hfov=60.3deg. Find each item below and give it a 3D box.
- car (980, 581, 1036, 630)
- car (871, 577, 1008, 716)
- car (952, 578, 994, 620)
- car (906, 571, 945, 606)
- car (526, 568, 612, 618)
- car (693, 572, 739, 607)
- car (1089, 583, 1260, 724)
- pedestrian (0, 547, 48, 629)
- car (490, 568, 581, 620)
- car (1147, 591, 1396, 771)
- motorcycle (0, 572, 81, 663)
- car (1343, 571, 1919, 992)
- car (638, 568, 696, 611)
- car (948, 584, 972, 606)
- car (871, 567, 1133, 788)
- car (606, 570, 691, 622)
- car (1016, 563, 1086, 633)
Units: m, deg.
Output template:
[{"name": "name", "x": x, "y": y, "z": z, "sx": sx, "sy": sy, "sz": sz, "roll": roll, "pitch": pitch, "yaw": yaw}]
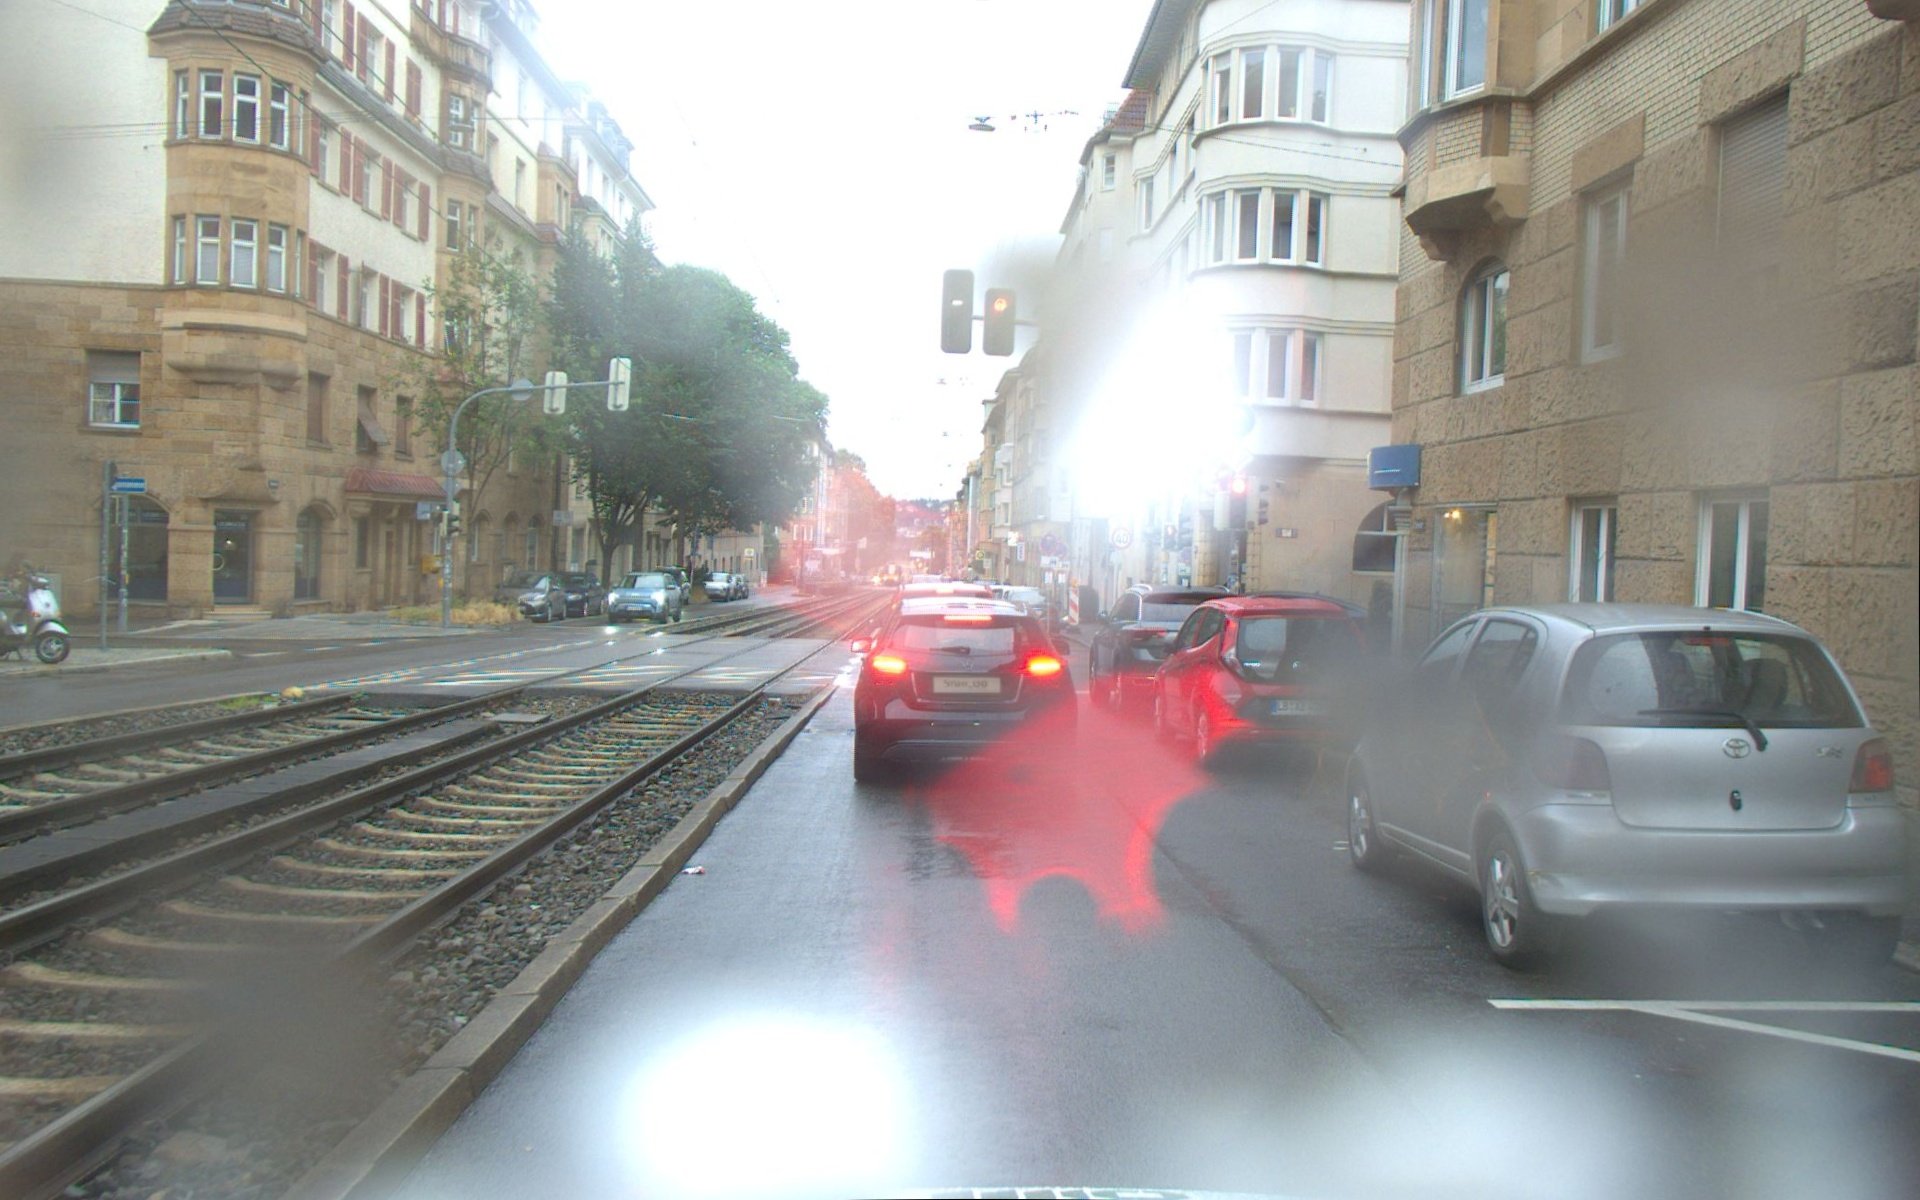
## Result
[{"name": "car", "x": 1.827, "y": 0.220, "z": 64.309, "sx": 1.734, "sy": 1.807, "sz": 3.996, "roll": 1, "pitch": -1, "yaw": -5}, {"name": "car", "x": -0.260, "y": 0.523, "z": 20.970, "sx": 1.504, "sy": 1.536, "sz": 3.999, "roll": 2, "pitch": 0, "yaw": -1}, {"name": "car", "x": 0.558, "y": -0.034, "z": 75.875, "sx": 1.815, "sy": 1.829, "sz": 3.811, "roll": 1, "pitch": -1, "yaw": -1}, {"name": "car", "x": -1.768, "y": -0.601, "z": 85.991, "sx": 1.882, "sy": 1.684, "sz": 4.000, "roll": 2, "pitch": 0, "yaw": 0}, {"name": "car", "x": -13.120, "y": -0.233, "z": 55.676, "sx": 1.953, "sy": 1.544, "sz": 3.999, "roll": 2, "pitch": 0, "yaw": -1}, {"name": "car", "x": -13.815, "y": -0.601, "z": 93.864, "sx": 1.953, "sy": 1.825, "sz": 3.999, "roll": 2, "pitch": 0, "yaw": -1}, {"name": "car", "x": 2.584, "y": 0.597, "z": 20.738, "sx": 1.518, "sy": 1.534, "sz": 3.999, "roll": 3, "pitch": 0, "yaw": -1}, {"name": "pedestrian", "x": -20.813, "y": -0.261, "z": 36.700, "sx": 0.595, "sy": 1.763, "sz": 0.865, "roll": 2, "pitch": 0, "yaw": 0}, {"name": "car", "x": -12.872, "y": -0.157, "z": 50.359, "sx": 1.735, "sy": 1.489, "sz": 3.999, "roll": 1, "pitch": 0, "yaw": -1}, {"name": "car", "x": 2.789, "y": 0.672, "z": 15.403, "sx": 1.570, "sy": 1.444, "sz": 3.147, "roll": 2, "pitch": 0, "yaw": -2}, {"name": "motorcycle", "x": -12.502, "y": 0.225, "z": 22.104, "sx": 1.409, "sy": 1.154, "sz": 0.619, "roll": 2, "pitch": 0, "yaw": 29}, {"name": "car", "x": 3.120, "y": 0.691, "z": 8.084, "sx": 1.604, "sy": 1.569, "sz": 3.465, "roll": 2, "pitch": 0, "yaw": -1}, {"name": "car", "x": -13.484, "y": -0.480, "z": 76.404, "sx": 1.953, "sy": 1.825, "sz": 3.999, "roll": 2, "pitch": 0, "yaw": -1}, {"name": "car", "x": 0.026, "y": -0.406, "z": 136.098, "sx": 1.870, "sy": 1.735, "sz": 3.999, "roll": 2, "pitch": 0, "yaw": -1}, {"name": "car", "x": 0.245, "y": 0.589, "z": 14.032, "sx": 1.907, "sy": 1.592, "sz": 3.641, "roll": 1, "pitch": 0, "yaw": -2}, {"name": "car", "x": -9.988, "y": -0.129, "z": 53.317, "sx": 1.758, "sy": 1.575, "sz": 4.002, "roll": 1, "pitch": 0, "yaw": 3}, {"name": "car", "x": 2.822, "y": -0.023, "z": 52.075, "sx": 1.860, "sy": 2.063, "sz": 4.175, "roll": 1, "pitch": -1, "yaw": -1}]
